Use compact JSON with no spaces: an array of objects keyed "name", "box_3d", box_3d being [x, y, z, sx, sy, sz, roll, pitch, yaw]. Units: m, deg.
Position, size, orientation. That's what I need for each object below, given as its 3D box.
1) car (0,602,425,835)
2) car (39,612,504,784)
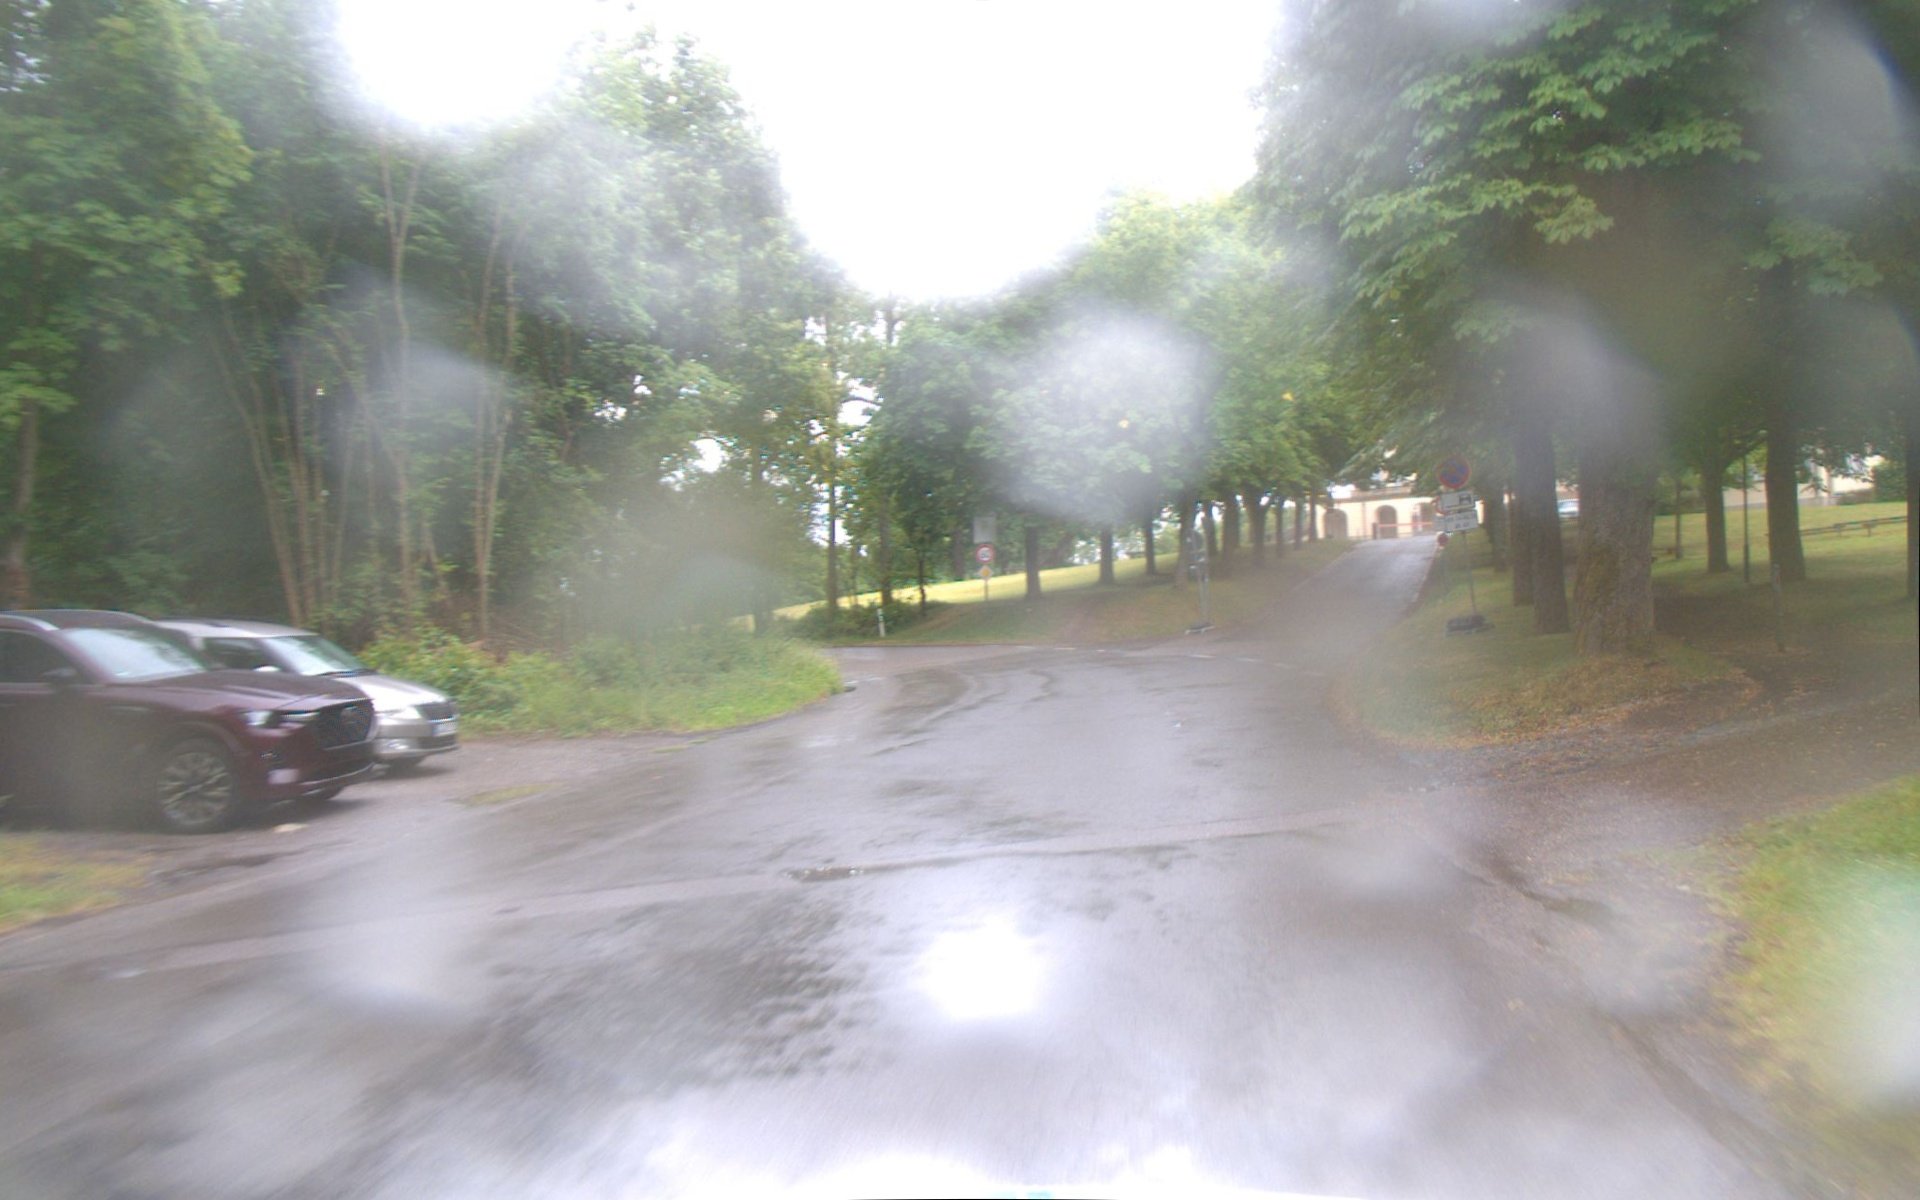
[{"name":"car","box_3d":[-7.152,0.934,13.799,4.722,1.706,1.878,-1,2,8]},{"name":"car","box_3d":[-6.990,0.970,16.988,4.047,1.581,1.776,-1,2,10]}]
